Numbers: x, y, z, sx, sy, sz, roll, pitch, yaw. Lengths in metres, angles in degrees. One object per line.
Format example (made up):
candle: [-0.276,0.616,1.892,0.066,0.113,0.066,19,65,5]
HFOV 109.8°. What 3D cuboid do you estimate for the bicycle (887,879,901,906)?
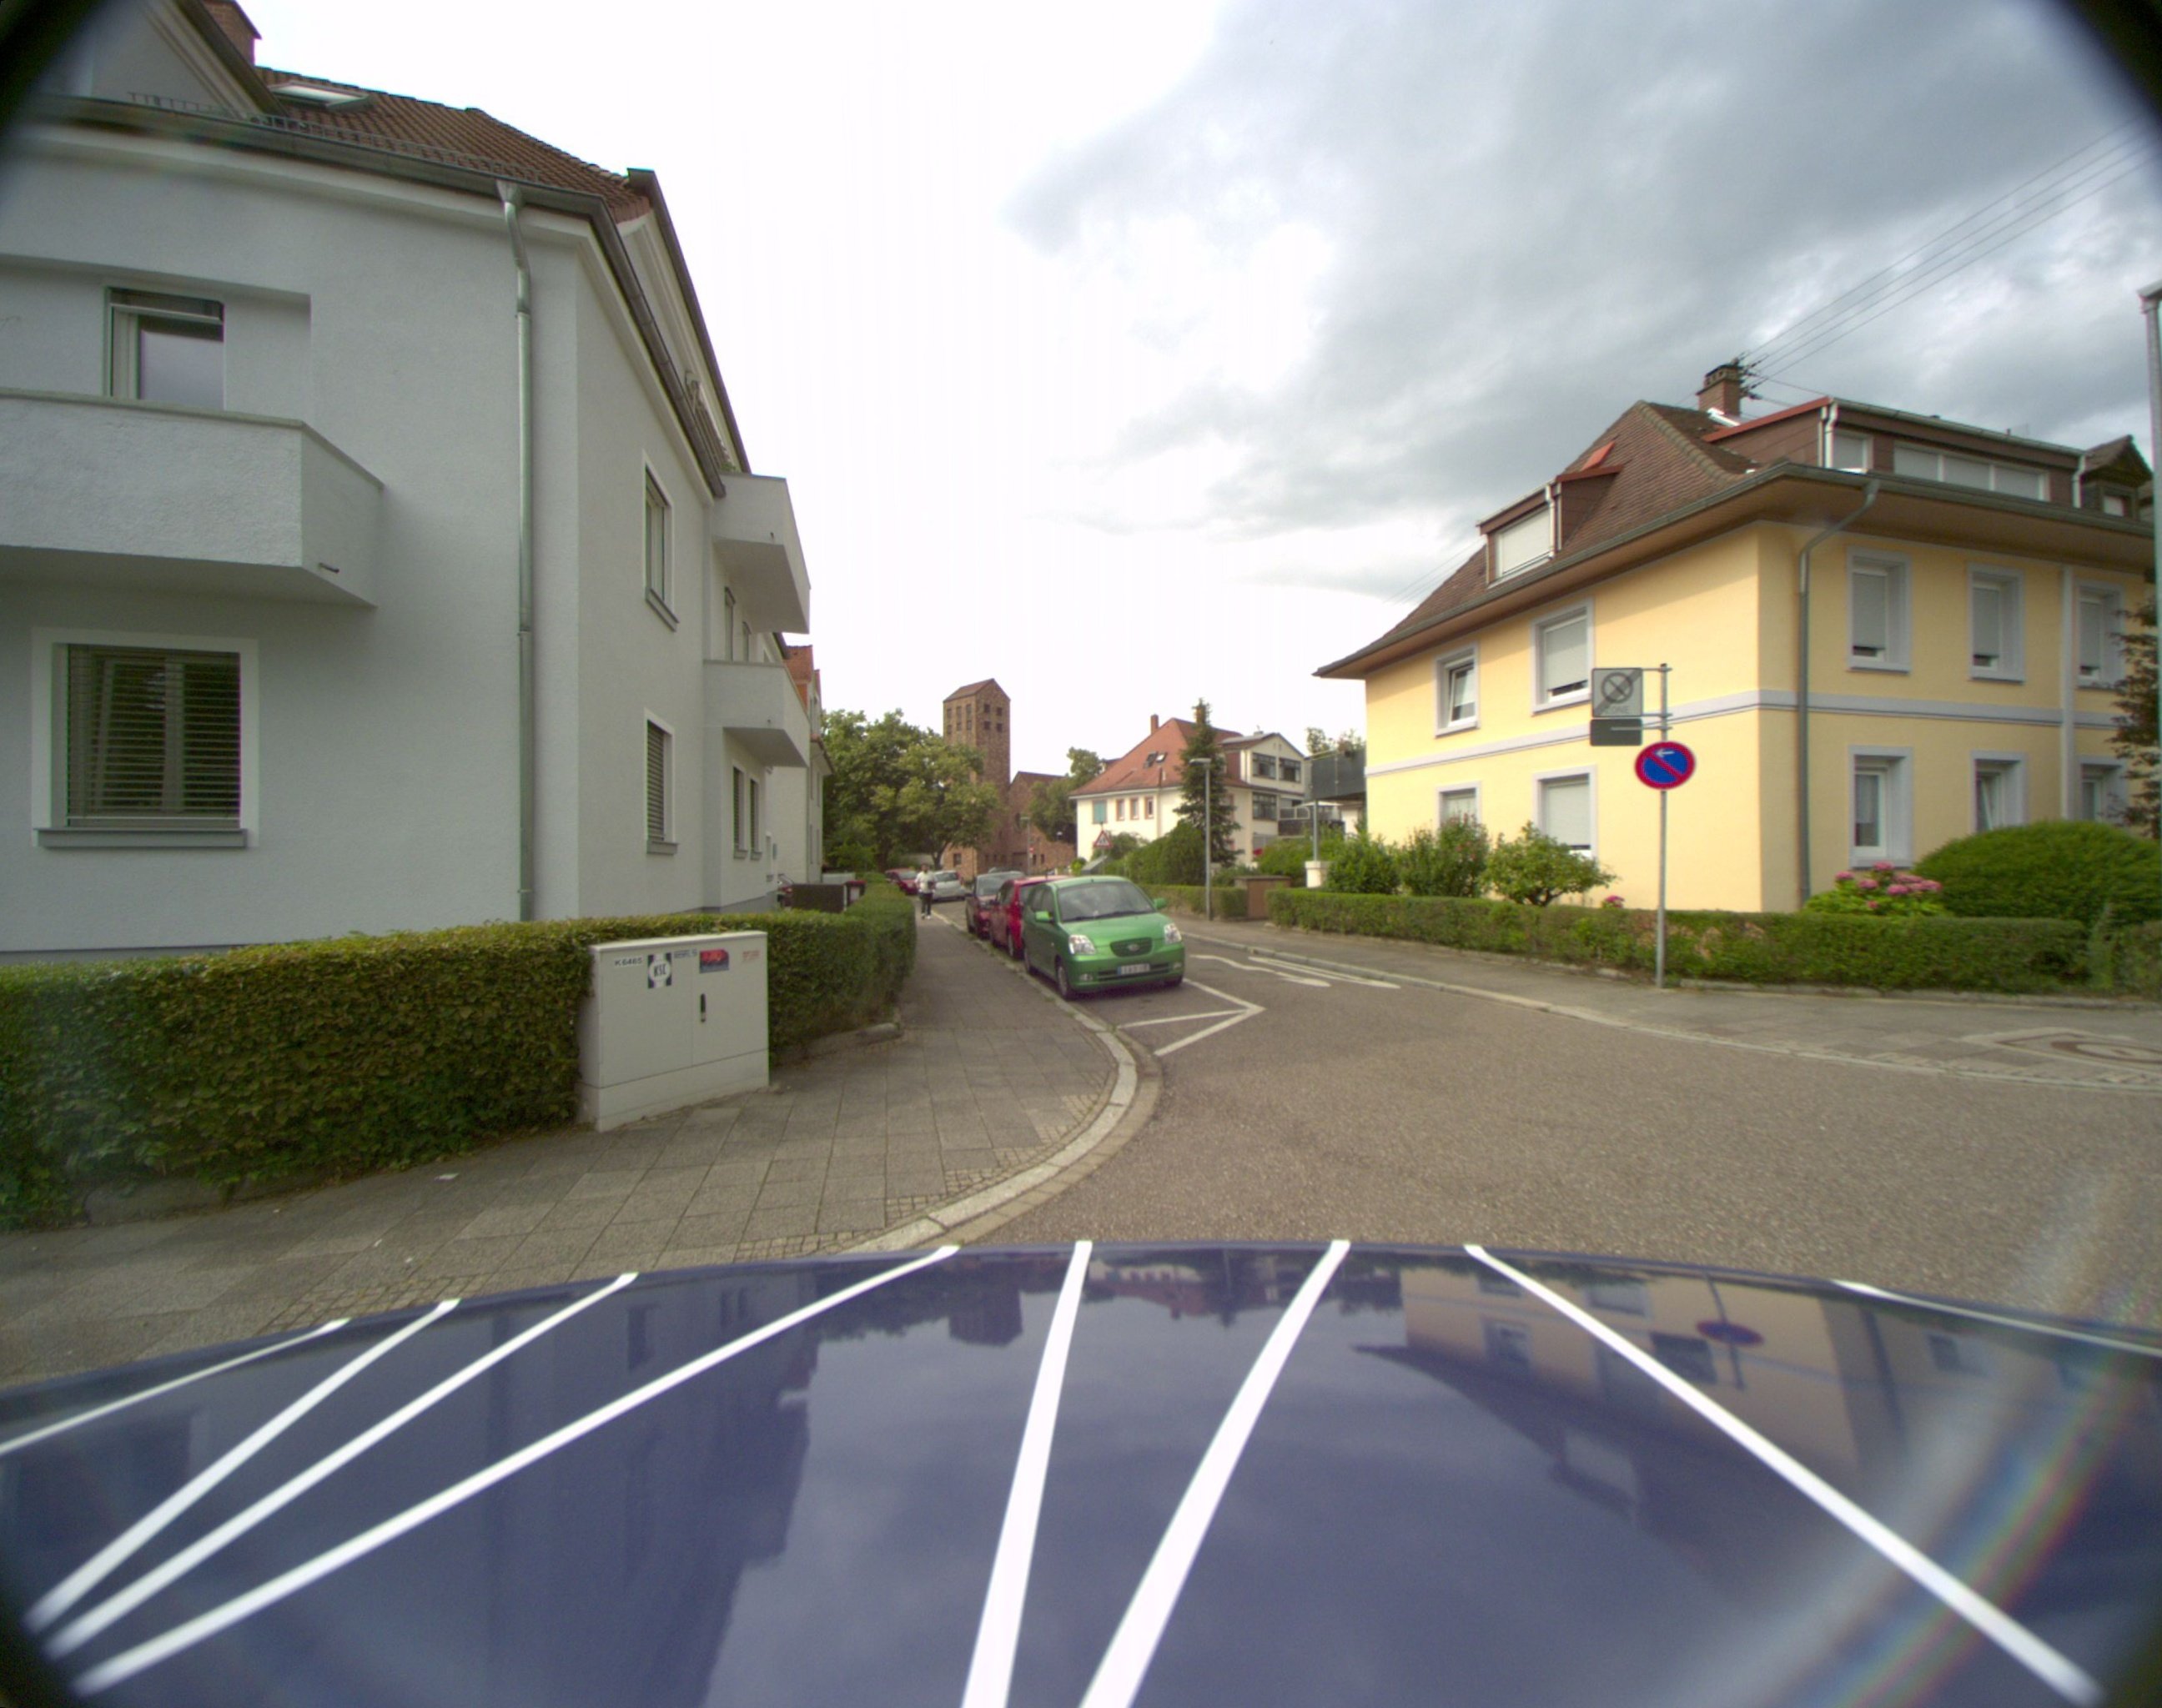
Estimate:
bicycle: [-8.201,1.663,33.278,0.423,1.097,2.112,0,0,-19]

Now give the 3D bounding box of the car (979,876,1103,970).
car: [-0.914,1.256,15.165,1.652,1.487,3.477,-4,0,-16]

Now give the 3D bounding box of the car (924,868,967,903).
car: [-6.662,1.505,37.172,1.652,1.487,3.477,-4,0,-16]

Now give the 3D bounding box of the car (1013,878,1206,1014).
car: [0.218,1.130,10.719,1.652,1.413,3.477,-4,0,-16]

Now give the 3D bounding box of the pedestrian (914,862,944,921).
pedestrian: [-4.960,1.198,24.672,0.884,1.867,1.077,0,0,-14]

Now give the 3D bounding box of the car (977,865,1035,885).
car: [-5.881,1.632,59.480,4.230,1.456,1.681,0,1,-15]

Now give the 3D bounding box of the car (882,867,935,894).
car: [-10.436,1.615,45.924,1.654,1.487,3.472,-4,1,-39]

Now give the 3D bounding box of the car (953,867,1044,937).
car: [-2.181,1.133,19.312,1.652,1.487,3.477,-4,0,-16]

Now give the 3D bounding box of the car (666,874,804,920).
car: [-11.771,1.434,26.117,4.002,1.455,1.998,0,-1,-14]
